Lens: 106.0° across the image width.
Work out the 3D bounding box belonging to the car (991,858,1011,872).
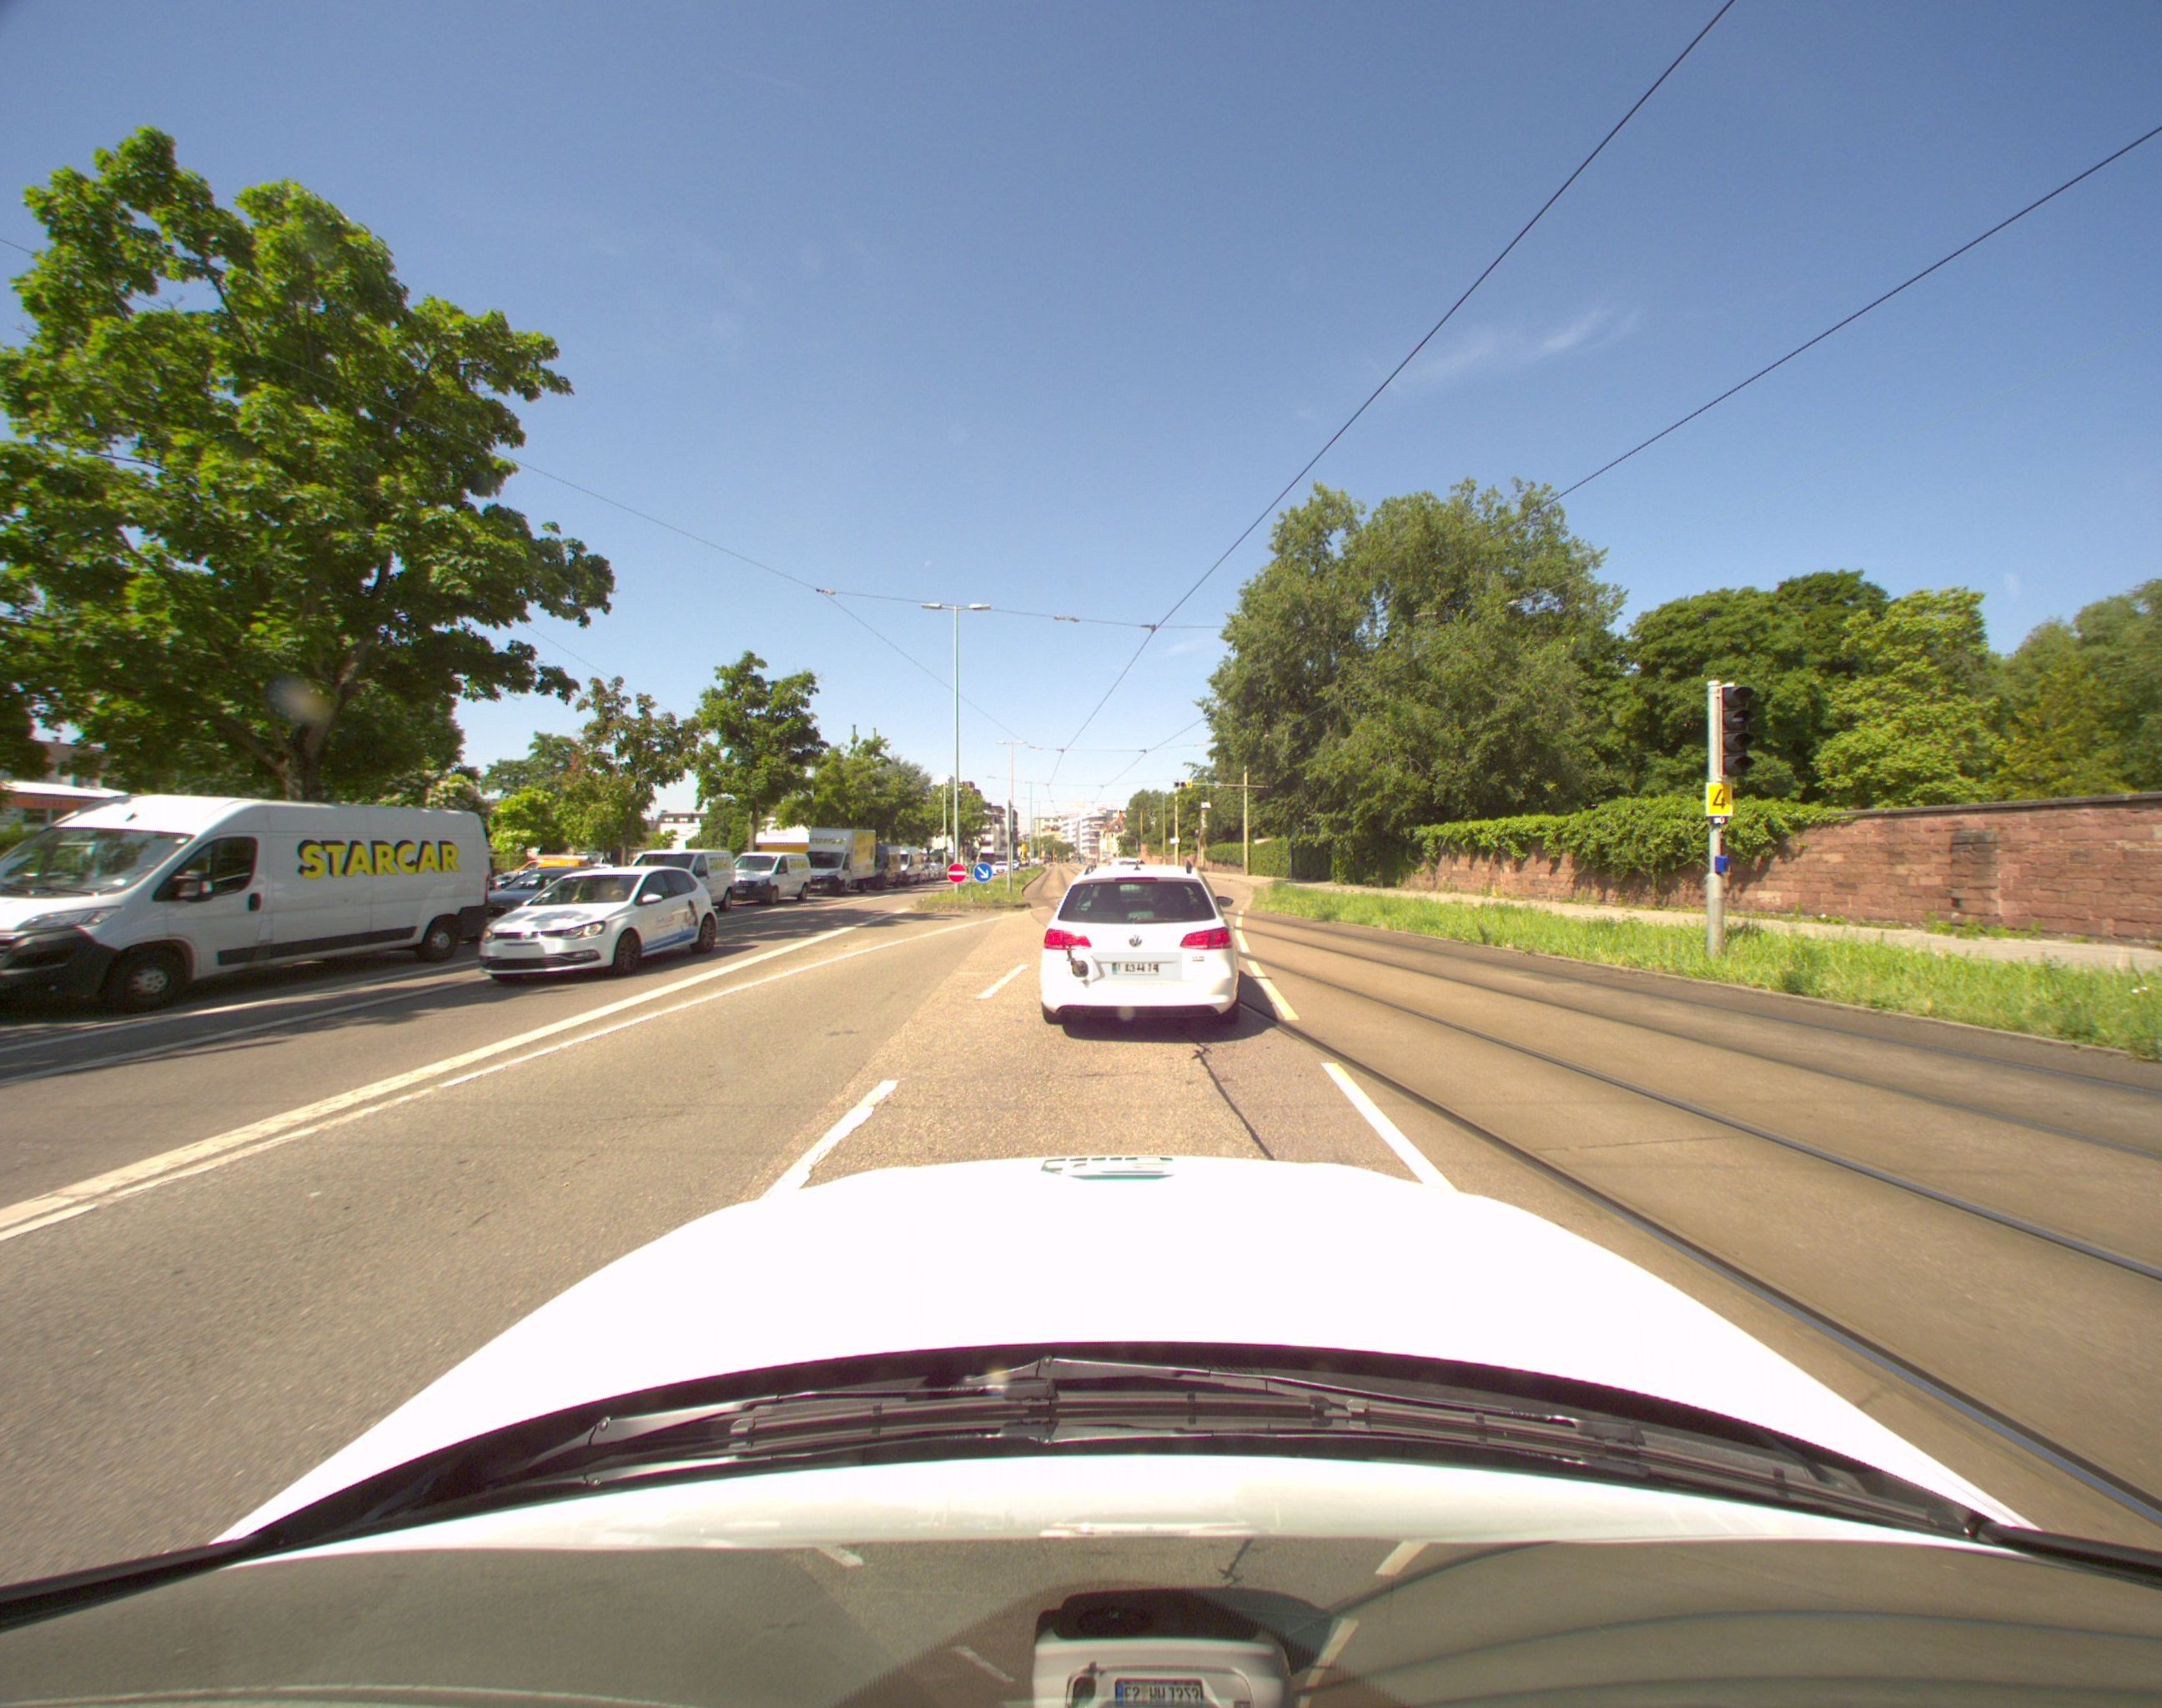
[{"bbox_3d":[-8.641,1.131,87.881,1.786,1.422,4.333,-1,0,-1],"label":"car"}]

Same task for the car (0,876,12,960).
[{"bbox_3d":[-21.886,1.217,14.227,3.978,1.544,1.661,-1,-1,-4],"label":"car"}]

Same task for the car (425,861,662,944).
[{"bbox_3d":[-11.240,0.924,17.572,1.927,1.454,4.882,-1,0,-2],"label":"car"}]

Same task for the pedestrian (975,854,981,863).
[{"bbox_3d":[-17.100,0.751,135.354,0.559,1.487,0.821,-1,-1,42],"label":"pedestrian"}]

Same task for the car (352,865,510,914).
[{"bbox_3d":[-22.209,1.190,27.919,3.977,1.544,1.662,-1,-1,-2],"label":"car"}]

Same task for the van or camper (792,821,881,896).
[{"bbox_3d":[-11.573,0.218,39.173,2.189,3.241,6.770,1,0,0],"label":"van or camper"}]

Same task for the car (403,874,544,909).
[{"bbox_3d":[-22.428,1.370,30.185,3.878,1.154,1.662,-1,-1,-2],"label":"car"}]

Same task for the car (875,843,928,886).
[{"bbox_3d":[-11.776,0.669,53.809,2.189,2.630,5.976,1,0,-1],"label":"car"}]

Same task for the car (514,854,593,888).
[{"bbox_3d":[-35.487,1.137,54.906,3.981,2.200,1.907,-1,0,-5],"label":"car"}]

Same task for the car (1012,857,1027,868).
[{"bbox_3d":[-9.301,1.244,122.825,2.038,1.597,4.656,-1,0,-2],"label":"car"}]

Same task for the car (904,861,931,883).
[{"bbox_3d":[-12.077,1.303,60.196,1.288,1.490,3.675,1,0,-1],"label":"car"}]

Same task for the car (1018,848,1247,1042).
[{"bbox_3d":[0.662,0.715,8.303,1.768,1.490,3.855,-1,0,8],"label":"car"}]

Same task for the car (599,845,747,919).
[{"bbox_3d":[-11.924,0.754,24.303,2.193,1.941,5.175,-1,0,-5],"label":"car"}]

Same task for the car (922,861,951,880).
[{"bbox_3d":[-12.374,1.385,69.967,1.599,1.490,4.617,1,0,0],"label":"car"}]

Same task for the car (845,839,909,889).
[{"bbox_3d":[-11.689,0.524,47.097,2.189,2.668,6.076,1,0,-1],"label":"car"}]

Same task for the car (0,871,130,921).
[{"bbox_3d":[-35.061,1.404,27.287,3.981,1.544,1.782,-1,0,-5],"label":"car"}]

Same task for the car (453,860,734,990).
[{"bbox_3d":[-6.732,0.862,11.829,1.723,1.465,3.997,-2,0,-2],"label":"car"}]

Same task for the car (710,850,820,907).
[{"bbox_3d":[-11.732,0.844,30.718,2.189,1.941,5.182,-1,0,-1],"label":"car"}]

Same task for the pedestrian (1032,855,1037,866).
[{"bbox_3d":[-7.744,1.077,135.526,0.826,1.738,0.929,-1,0,-10],"label":"pedestrian"}]

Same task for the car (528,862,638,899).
[{"bbox_3d":[-22.884,1.200,37.515,3.977,1.544,1.662,-1,-1,-2],"label":"car"}]

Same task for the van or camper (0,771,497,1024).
[{"bbox_3d":[-11.391,0.458,11.192,2.250,2.514,6.146,-1,0,0],"label":"van or camper"}]

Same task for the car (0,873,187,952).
[{"bbox_3d":[-22.241,1.245,17.545,3.977,1.544,1.662,-1,-1,-2],"label":"car"}]

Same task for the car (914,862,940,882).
[{"bbox_3d":[-12.193,1.379,64.740,1.288,1.490,4.348,1,0,-1],"label":"car"}]

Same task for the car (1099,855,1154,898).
[{"bbox_3d":[1.900,0.853,32.908,1.720,1.596,4.022,1,0,10],"label":"car"}]
